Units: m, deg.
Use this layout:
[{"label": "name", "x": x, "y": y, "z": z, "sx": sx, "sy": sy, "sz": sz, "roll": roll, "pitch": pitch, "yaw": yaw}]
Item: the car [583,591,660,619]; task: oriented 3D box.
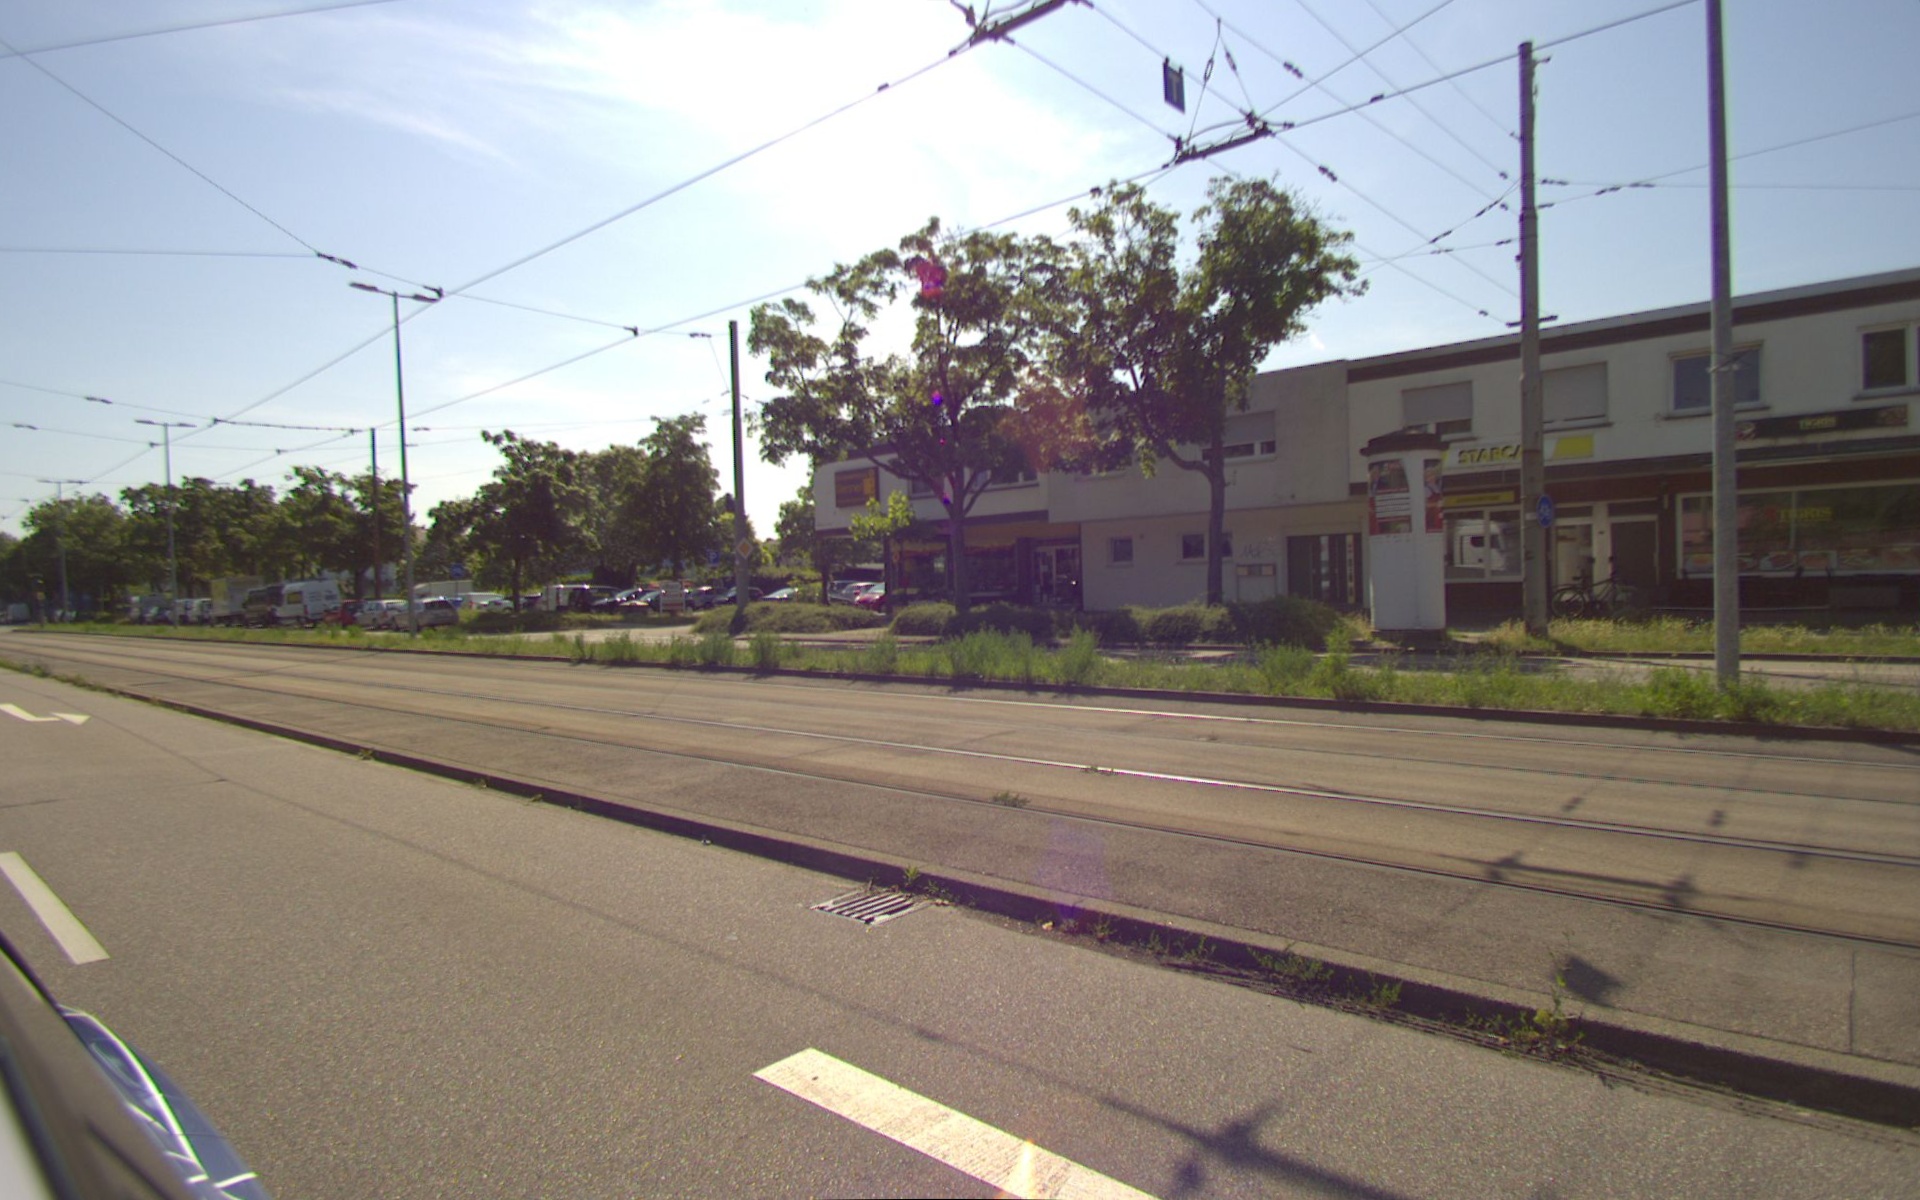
[{"label": "car", "x": -18.231, "y": 0.256, "z": 54.634, "sx": 1.710, "sy": 1.372, "sz": 3.580, "roll": -1, "pitch": 1, "yaw": 39}]

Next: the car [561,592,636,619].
[{"label": "car", "x": -20.182, "y": 0.282, "z": 56.573, "sx": 1.710, "sy": 1.372, "sz": 3.580, "roll": -1, "pitch": 1, "yaw": 39}]

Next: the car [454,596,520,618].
[{"label": "car", "x": -31.562, "y": 0.467, "z": 67.620, "sx": 1.710, "sy": 1.291, "sz": 3.580, "roll": -1, "pitch": 1, "yaw": 39}]

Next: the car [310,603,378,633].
[{"label": "car", "x": -33.194, "y": 0.984, "z": 54.507, "sx": 4.229, "sy": 1.506, "sz": 1.869, "roll": -1, "pitch": 1, "yaw": 41}]

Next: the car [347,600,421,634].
[{"label": "car", "x": -28.937, "y": 0.859, "z": 50.830, "sx": 4.282, "sy": 1.572, "sz": 1.869, "roll": -1, "pitch": 1, "yaw": 41}]

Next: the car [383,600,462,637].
[{"label": "car", "x": -25.208, "y": 0.841, "z": 47.385, "sx": 4.285, "sy": 1.506, "sz": 1.868, "roll": -1, "pitch": 4, "yaw": 43}]

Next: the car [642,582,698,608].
[{"label": "car", "x": -21.278, "y": -0.362, "z": 74.425, "sx": 1.710, "sy": 1.791, "sz": 3.580, "roll": -1, "pitch": 1, "yaw": 39}]

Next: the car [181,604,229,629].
[{"label": "car", "x": -54.662, "y": 1.189, "z": 73.211, "sx": 4.229, "sy": 1.747, "sz": 1.869, "roll": -1, "pitch": 1, "yaw": 41}]

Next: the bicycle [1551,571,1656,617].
[{"label": "bicycle", "x": 14.645, "y": -0.125, "z": 23.054, "sx": 1.910, "sy": 0.990, "sz": 0.750, "roll": -1, "pitch": 1, "yaw": 41}]

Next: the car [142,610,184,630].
[{"label": "car", "x": -64.392, "y": 1.613, "z": 81.721, "sx": 4.229, "sy": 1.572, "sz": 1.869, "roll": -1, "pitch": 1, "yaw": 41}]

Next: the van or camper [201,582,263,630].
[{"label": "van or camper", "x": -48.440, "y": 0.402, "z": 67.268, "sx": 5.278, "sy": 3.007, "sz": 2.101, "roll": -1, "pitch": 1, "yaw": 41}]

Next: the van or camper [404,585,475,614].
[{"label": "van or camper", "x": -53.075, "y": -0.079, "z": 103.245, "sx": 2.299, "sy": 2.751, "sz": 6.002, "roll": -1, "pitch": 1, "yaw": 43}]

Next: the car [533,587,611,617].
[{"label": "car", "x": -22.214, "y": 0.126, "z": 57.996, "sx": 1.949, "sy": 1.581, "sz": 3.703, "roll": -1, "pitch": 1, "yaw": 39}]

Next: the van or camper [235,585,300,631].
[{"label": "van or camper", "x": -42.499, "y": 0.503, "z": 62.070, "sx": 4.836, "sy": 2.652, "sz": 2.014, "roll": -1, "pitch": 1, "yaw": 41}]

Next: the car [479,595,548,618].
[{"label": "car", "x": -28.107, "y": 0.423, "z": 63.773, "sx": 1.811, "sy": 1.291, "sz": 3.580, "roll": -1, "pitch": 1, "yaw": 39}]

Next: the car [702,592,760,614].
[{"label": "car", "x": -15.647, "y": 0.172, "z": 69.385, "sx": 1.710, "sy": 1.372, "sz": 3.580, "roll": -1, "pitch": 1, "yaw": 39}]

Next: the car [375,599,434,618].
[{"label": "car", "x": -42.404, "y": 0.609, "z": 77.320, "sx": 1.710, "sy": 1.291, "sz": 3.580, "roll": -1, "pitch": 1, "yaw": 39}]

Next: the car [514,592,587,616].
[{"label": "car", "x": -24.024, "y": 0.235, "z": 59.451, "sx": 1.710, "sy": 1.294, "sz": 3.580, "roll": -1, "pitch": 1, "yaw": 39}]

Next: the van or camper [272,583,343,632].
[{"label": "van or camper", "x": -37.113, "y": 0.433, "z": 57.520, "sx": 4.836, "sy": 2.652, "sz": 2.014, "roll": -1, "pitch": 1, "yaw": 41}]

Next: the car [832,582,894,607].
[{"label": "car", "x": -5.838, "y": -0.353, "z": 61.325, "sx": 1.710, "sy": 1.372, "sz": 3.580, "roll": -1, "pitch": 1, "yaw": 39}]

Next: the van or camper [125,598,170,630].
[{"label": "van or camper", "x": -69.439, "y": 1.174, "z": 86.477, "sx": 5.450, "sy": 2.639, "sz": 2.087, "roll": -1, "pitch": 0, "yaw": 41}]

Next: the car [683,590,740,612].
[{"label": "car", "x": -17.486, "y": 0.071, "z": 71.225, "sx": 1.710, "sy": 1.372, "sz": 3.580, "roll": -1, "pitch": 1, "yaw": 39}]

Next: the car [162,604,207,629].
[{"label": "car", "x": -59.751, "y": 1.285, "z": 77.930, "sx": 4.229, "sy": 1.781, "sz": 1.869, "roll": -1, "pitch": 1, "yaw": 41}]

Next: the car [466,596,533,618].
[{"label": "car", "x": -29.927, "y": 0.447, "z": 65.861, "sx": 1.710, "sy": 1.291, "sz": 3.580, "roll": -1, "pitch": 1, "yaw": 39}]
